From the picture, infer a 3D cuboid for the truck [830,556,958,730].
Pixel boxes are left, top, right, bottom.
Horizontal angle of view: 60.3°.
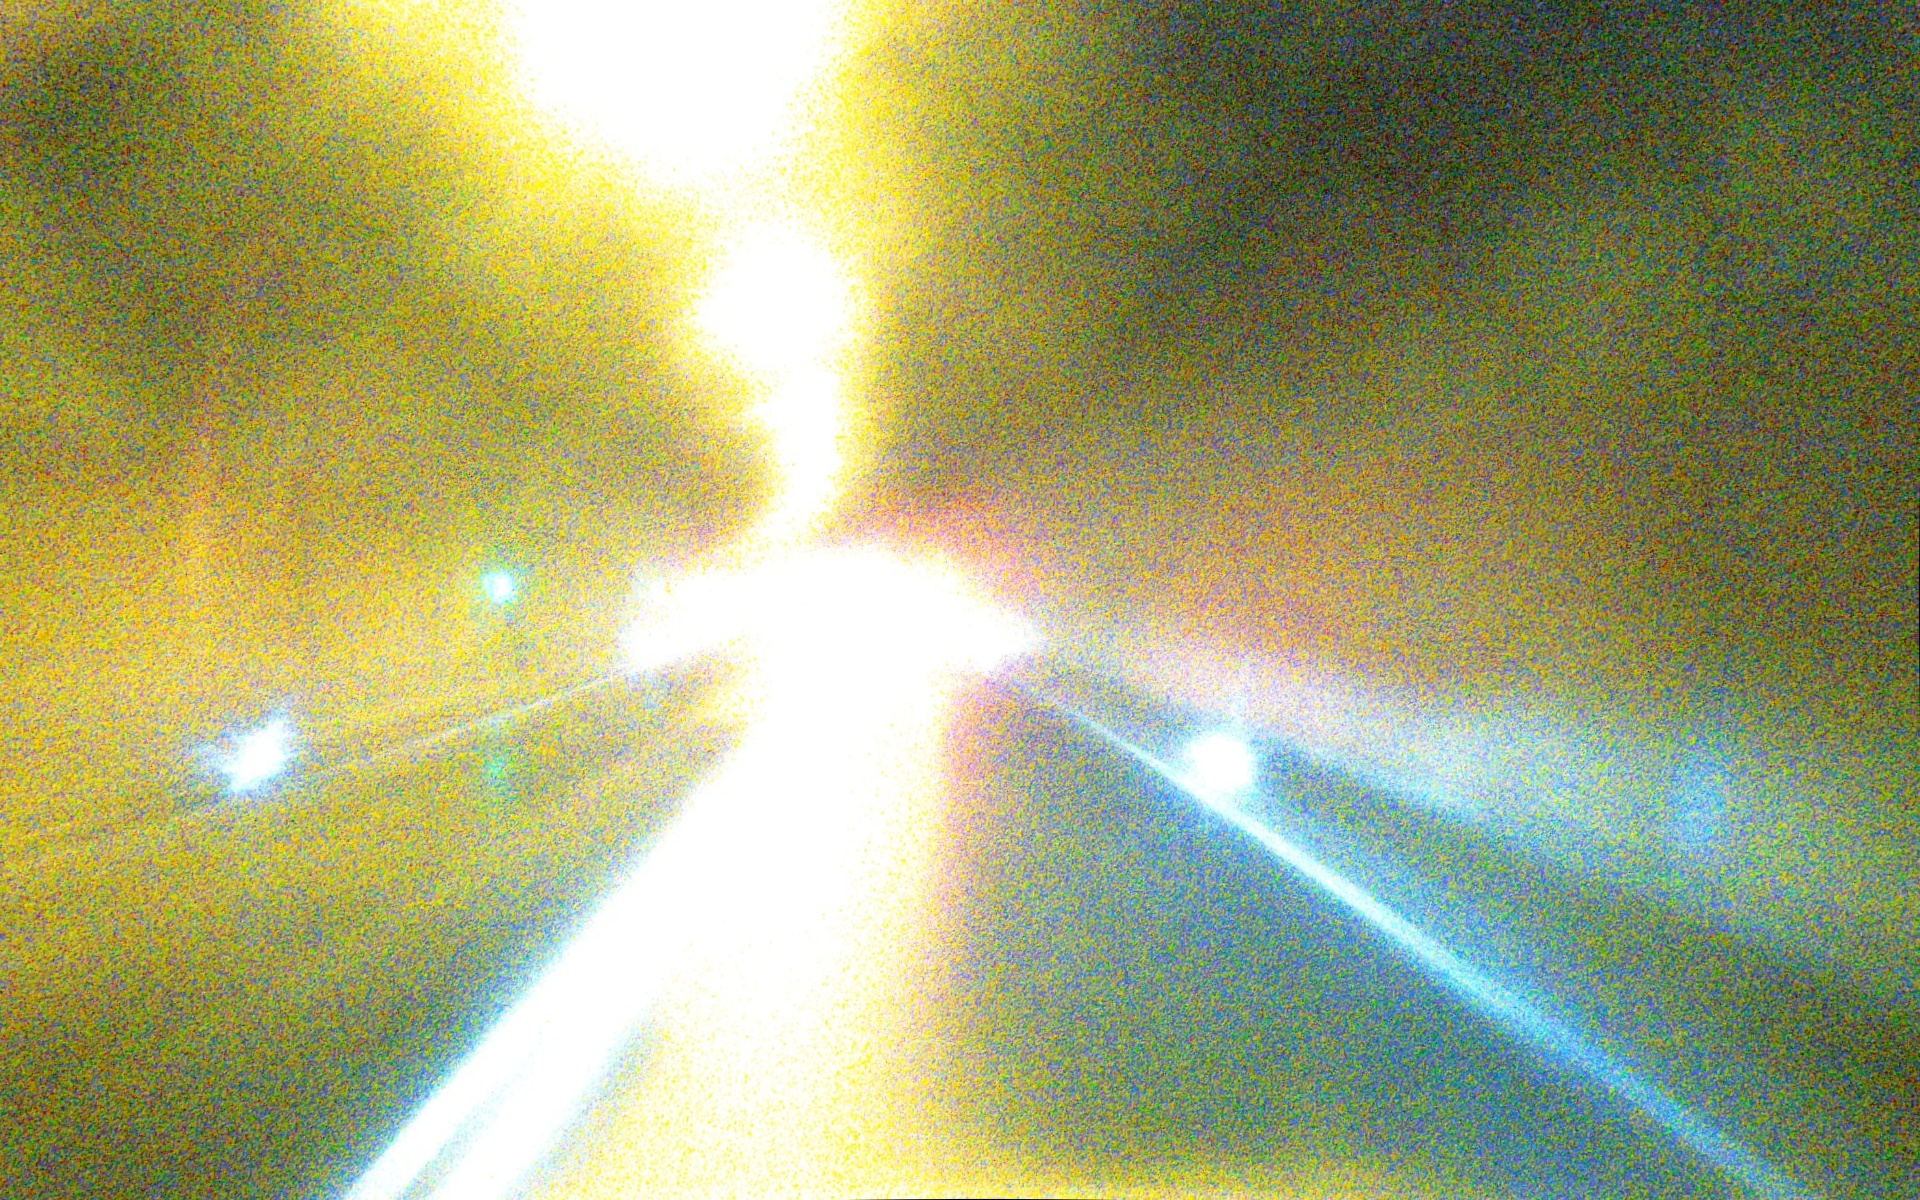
[{"bbox_3d":[-1.317,0.761,33.347,2.217,3.063,7.412,2,0,-2],"label":"truck"}]
